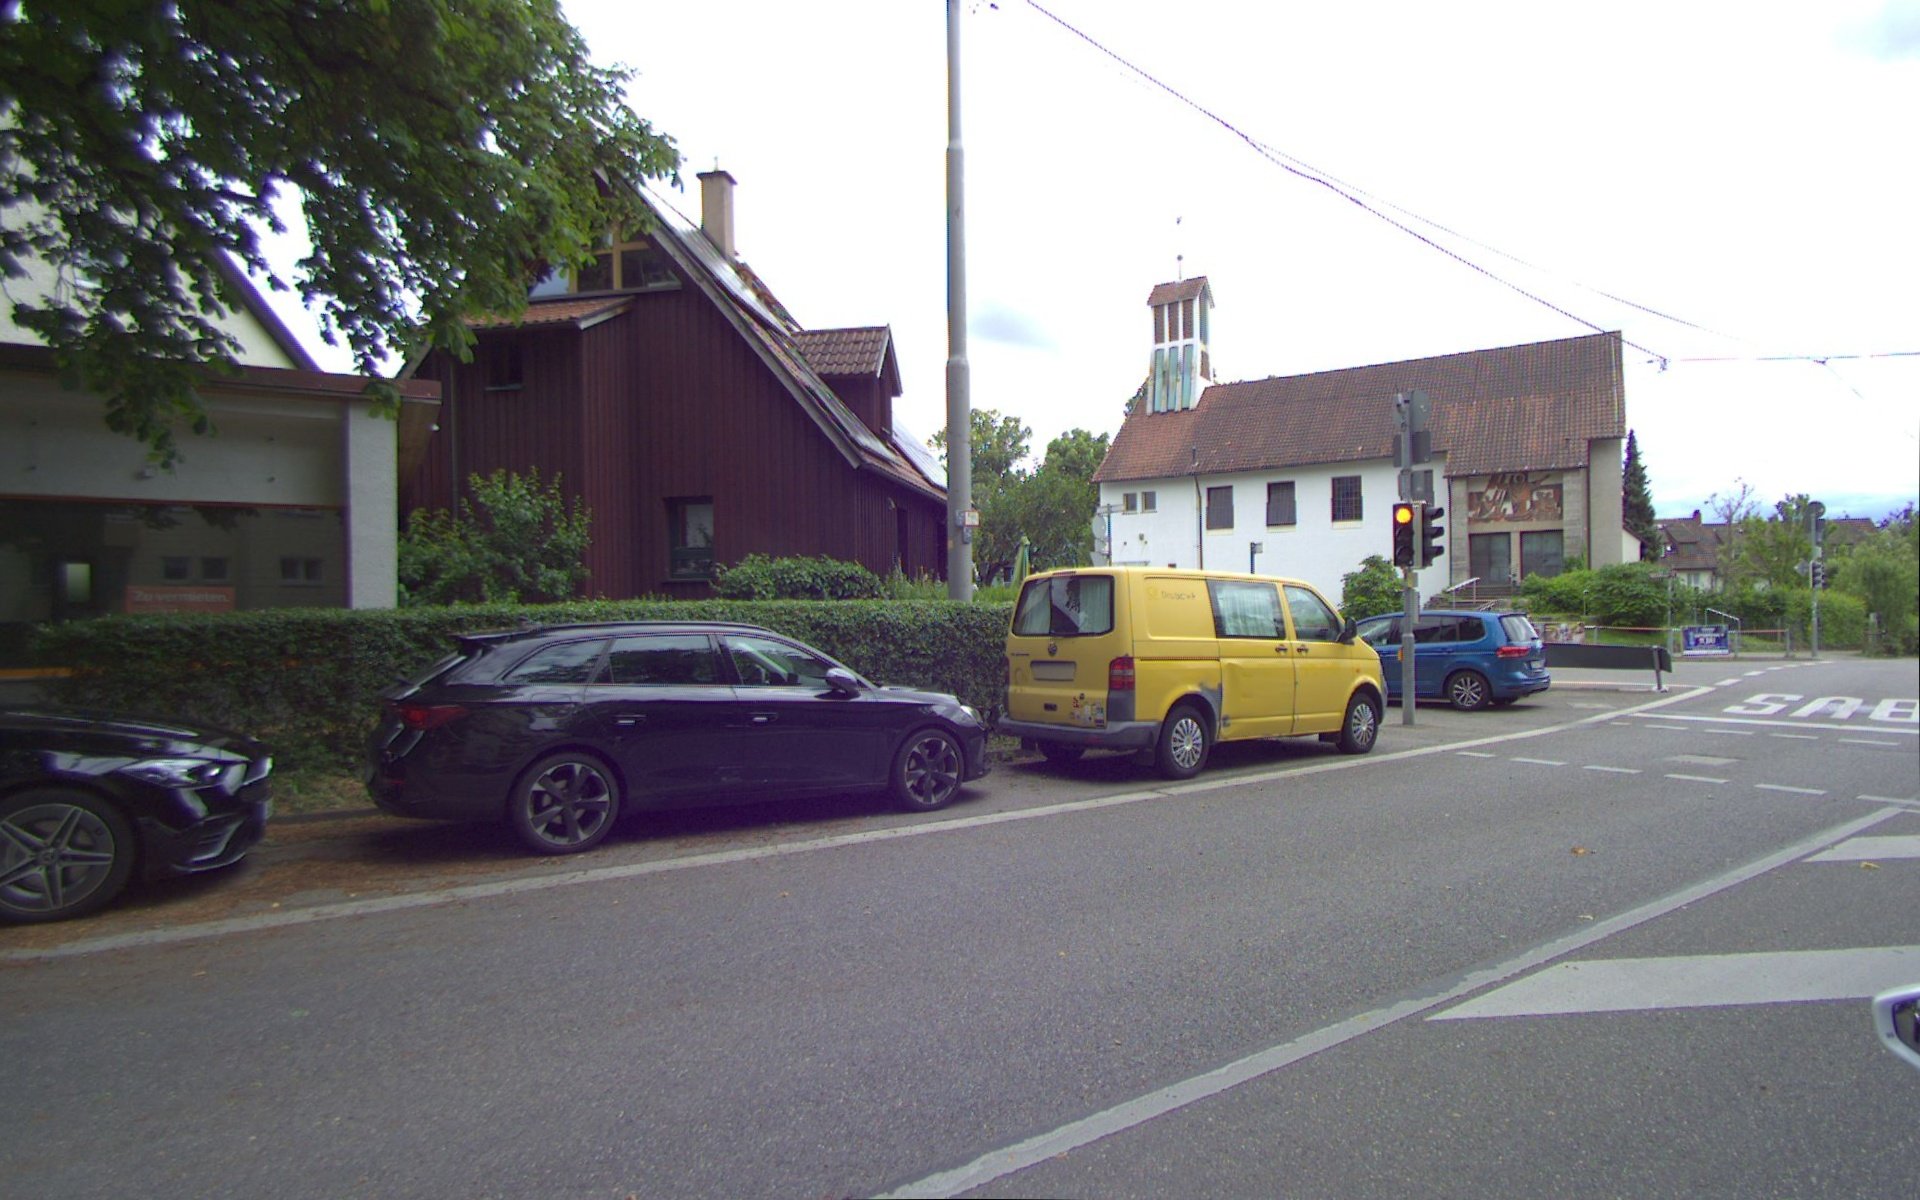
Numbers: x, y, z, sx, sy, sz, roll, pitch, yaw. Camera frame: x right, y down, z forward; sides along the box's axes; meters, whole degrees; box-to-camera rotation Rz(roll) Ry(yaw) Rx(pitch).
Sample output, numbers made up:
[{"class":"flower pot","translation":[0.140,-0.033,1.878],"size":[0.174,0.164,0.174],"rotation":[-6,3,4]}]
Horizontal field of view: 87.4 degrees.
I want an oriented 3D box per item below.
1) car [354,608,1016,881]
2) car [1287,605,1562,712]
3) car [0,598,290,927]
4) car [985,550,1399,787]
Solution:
[{"class":"car","translation":[-1.877,0.841,7.504],"size":[4.494,1.505,1.681],"rotation":[1,-2,-34]},{"class":"car","translation":[7.961,0.979,17.457],"size":[1.806,1.632,3.948],"rotation":[1,-3,-44]},{"class":"car","translation":[-6.059,0.761,4.839],"size":[4.561,1.520,1.984],"rotation":[1,-2,-31]},{"class":"car","translation":[2.612,0.640,10.772],"size":[4.523,2.040,1.870],"rotation":[1,-2,-37]}]
